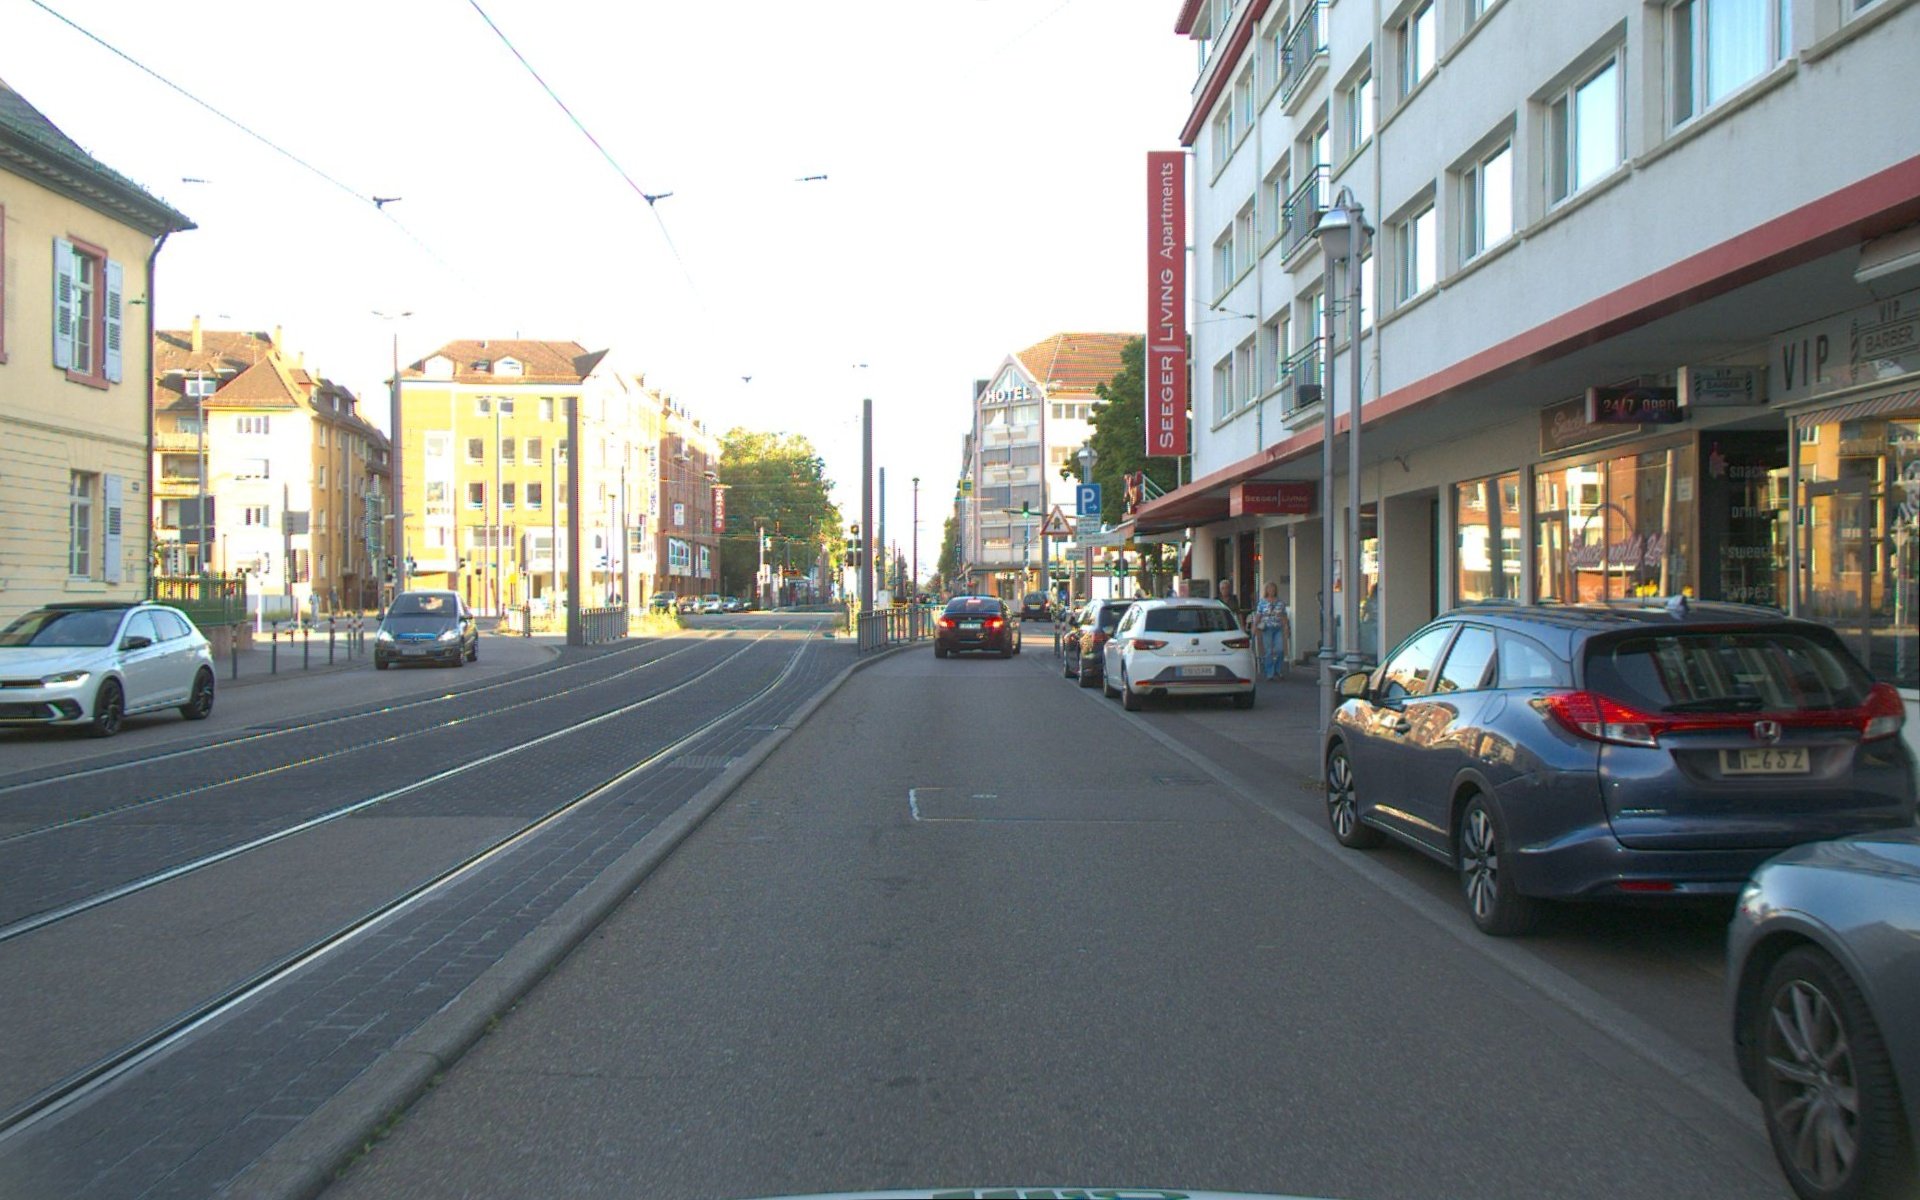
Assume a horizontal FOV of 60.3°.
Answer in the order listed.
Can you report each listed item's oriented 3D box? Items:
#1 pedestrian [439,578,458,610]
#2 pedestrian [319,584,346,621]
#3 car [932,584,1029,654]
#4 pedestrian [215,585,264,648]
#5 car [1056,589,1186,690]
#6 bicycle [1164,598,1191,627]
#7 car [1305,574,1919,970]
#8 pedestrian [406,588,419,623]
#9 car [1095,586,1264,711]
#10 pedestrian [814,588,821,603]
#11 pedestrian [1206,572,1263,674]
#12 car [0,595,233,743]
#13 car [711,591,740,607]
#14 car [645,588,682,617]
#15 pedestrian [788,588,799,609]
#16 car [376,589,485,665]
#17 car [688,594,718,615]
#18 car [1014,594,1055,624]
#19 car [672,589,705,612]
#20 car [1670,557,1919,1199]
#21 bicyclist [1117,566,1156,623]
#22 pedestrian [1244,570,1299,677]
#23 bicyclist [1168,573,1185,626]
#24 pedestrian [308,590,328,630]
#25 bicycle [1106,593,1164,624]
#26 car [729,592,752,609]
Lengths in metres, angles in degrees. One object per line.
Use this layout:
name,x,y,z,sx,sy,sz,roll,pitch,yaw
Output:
pedestrian,-30.427,-0.348,98.468,0.923,1.900,0.837,2,0,-10
pedestrian,-34.581,0.132,91.129,1.000,1.978,1.101,0,0,4
car,0.549,0.427,40.681,1.951,1.612,4.003,-1,0,7
pedestrian,-18.653,0.431,42.826,0.932,1.612,0.733,0,0,21
car,2.664,0.600,28.318,1.700,1.538,4.685,-2,0,-1
bicycle,7.649,0.426,58.273,0.456,0.987,1.797,0,0,-9
car,3.169,0.674,8.791,1.700,1.538,4.303,-2,0,-1
pedestrian,-29.723,0.288,89.818,0.492,1.900,0.562,2,0,-6
car,2.955,0.602,23.030,1.749,1.538,4.051,-2,0,-1
pedestrian,-15.980,-0.536,185.585,0.708,1.710,0.991,0,0,1
pedestrian,4.834,0.400,29.156,0.810,1.748,0.843,-2,0,-1
car,-10.160,0.718,19.321,1.770,1.538,4.031,0,0,-4
car,-21.637,-0.105,152.645,1.634,1.473,4.205,0,0,7
car,-20.304,0.169,113.382,1.954,1.934,4.808,0,0,-4
pedestrian,-16.309,-0.120,162.270,0.968,2.049,0.725,1,0,-3
car,-11.347,0.539,35.634,1.704,1.538,4.025,0,0,-10
car,-20.831,0.351,134.066,1.954,1.612,4.111,0,0,-3
car,3.977,0.475,89.085,1.953,1.579,3.999,0,0,-1
car,-20.316,0.024,123.810,1.954,1.612,4.584,0,0,-3
car,3.041,0.654,2.485,1.754,1.538,4.710,-2,0,-2
bicyclist,6.094,-0.199,57.187,0.832,1.951,1.100,0,0,-38
pedestrian,5.315,0.390,28.265,0.713,1.771,0.863,-2,0,-1
bicyclist,7.624,-0.028,58.357,0.456,1.862,0.558,0,0,-9
pedestrian,-30.404,0.460,78.282,0.870,1.900,0.970,0,0,-22
bicycle,6.040,0.281,57.245,0.832,1.038,2.049,0,0,-38
car,-21.702,0.015,163.623,1.954,1.612,4.476,0,0,-3
